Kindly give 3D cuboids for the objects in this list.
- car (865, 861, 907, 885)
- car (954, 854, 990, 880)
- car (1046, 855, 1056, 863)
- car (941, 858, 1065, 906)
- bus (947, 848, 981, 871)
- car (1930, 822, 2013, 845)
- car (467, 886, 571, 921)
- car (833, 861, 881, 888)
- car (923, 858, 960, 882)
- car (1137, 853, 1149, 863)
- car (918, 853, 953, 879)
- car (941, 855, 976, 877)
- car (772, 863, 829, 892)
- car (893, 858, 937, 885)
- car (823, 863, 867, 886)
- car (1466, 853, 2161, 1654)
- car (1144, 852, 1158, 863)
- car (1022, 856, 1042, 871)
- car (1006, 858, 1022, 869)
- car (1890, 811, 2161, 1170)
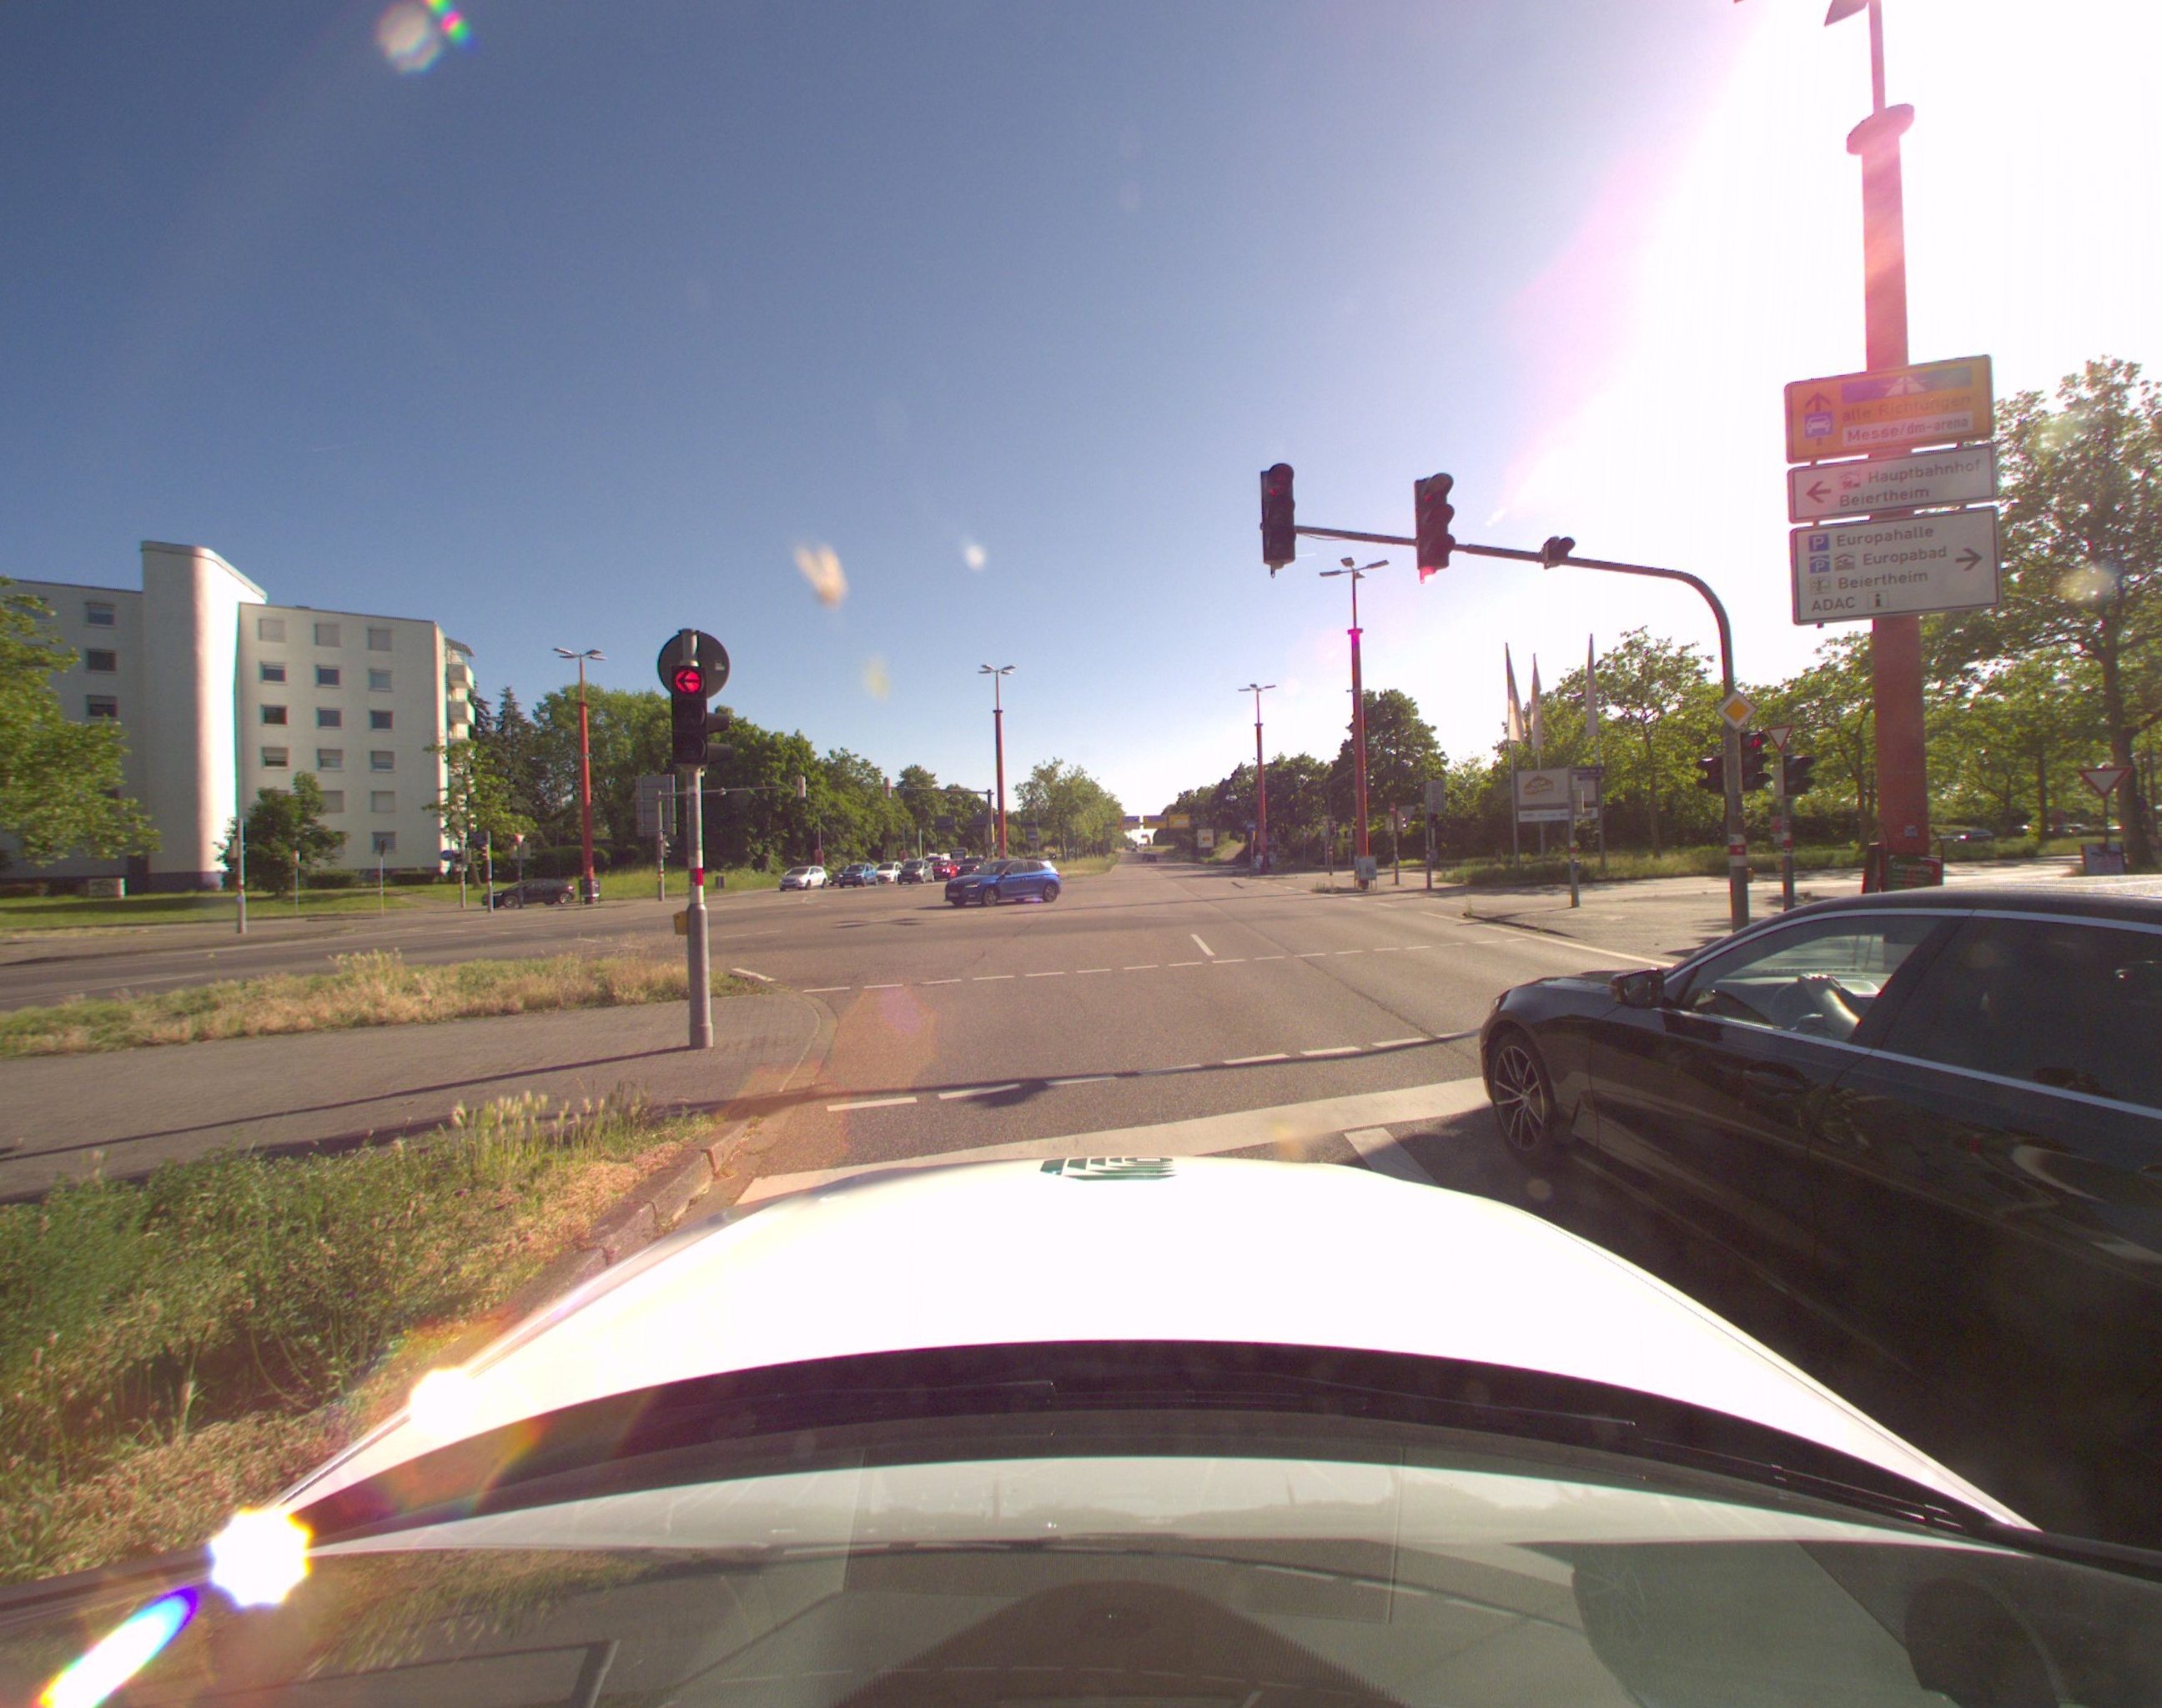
[{"bbox_3d":[-13.764,1.290,57.765,1.895,1.555,4.000,-3,0,0],"label":"car"},{"bbox_3d":[-7.518,0.860,56.705,1.787,1.626,4.144,-3,0,1],"label":"car"},{"bbox_3d":[-6.728,1.134,181.472,1.830,1.837,3.962,-2,0,2],"label":"car"},{"bbox_3d":[-2.470,0.855,26.390,1.559,1.420,3.932,-1,-1,44],"label":"car"},{"bbox_3d":[-17.570,0.792,123.029,2.635,3.261,12.545,0,0,3],"label":"bus"},{"bbox_3d":[68.362,-1.547,62.547,4.265,1.635,1.771,0,-1,4],"label":"car"},{"bbox_3d":[-28.659,2.496,41.589,1.815,1.503,3.975,-3,-1,38],"label":"car"},{"bbox_3d":[-14.127,1.288,51.618,1.794,1.515,3.861,-3,0,2],"label":"car"},{"bbox_3d":[-10.057,1.127,59.026,1.869,1.552,4.000,-5,0,0],"label":"car"},{"bbox_3d":[11.555,0.719,152.661,1.986,1.733,4.001,0,-1,2],"label":"car"},{"bbox_3d":[-12.712,1.002,71.303,1.954,2.155,5.083,-2,0,1],"label":"car"},{"bbox_3d":[-9.737,0.936,65.023,1.893,1.630,4.003,-1,0,3],"label":"car"},{"bbox_3d":[-17.634,1.426,51.419,1.869,1.652,4.222,-3,-1,3],"label":"car"},{"bbox_3d":[-10.686,1.081,52.698,1.867,1.550,4.029,-3,0,2],"label":"car"},{"bbox_3d":[-17.547,1.505,60.682,1.877,1.513,4.003,-3,0,3],"label":"car"},{"bbox_3d":[2.876,0.720,2.320,1.756,1.441,4.299,0,0,4],"label":"car"},{"bbox_3d":[11.453,0.570,133.577,1.986,1.733,4.001,0,-1,2],"label":"car"},{"bbox_3d":[-5.712,1.106,95.041,1.878,1.543,4.002,-3,0,2],"label":"car"},{"bbox_3d":[-10.049,1.389,122.797,1.878,1.543,4.002,-3,0,2],"label":"car"},{"bbox_3d":[5.666,0.601,2.960,1.709,1.608,3.849,0,-1,2],"label":"car"}]
